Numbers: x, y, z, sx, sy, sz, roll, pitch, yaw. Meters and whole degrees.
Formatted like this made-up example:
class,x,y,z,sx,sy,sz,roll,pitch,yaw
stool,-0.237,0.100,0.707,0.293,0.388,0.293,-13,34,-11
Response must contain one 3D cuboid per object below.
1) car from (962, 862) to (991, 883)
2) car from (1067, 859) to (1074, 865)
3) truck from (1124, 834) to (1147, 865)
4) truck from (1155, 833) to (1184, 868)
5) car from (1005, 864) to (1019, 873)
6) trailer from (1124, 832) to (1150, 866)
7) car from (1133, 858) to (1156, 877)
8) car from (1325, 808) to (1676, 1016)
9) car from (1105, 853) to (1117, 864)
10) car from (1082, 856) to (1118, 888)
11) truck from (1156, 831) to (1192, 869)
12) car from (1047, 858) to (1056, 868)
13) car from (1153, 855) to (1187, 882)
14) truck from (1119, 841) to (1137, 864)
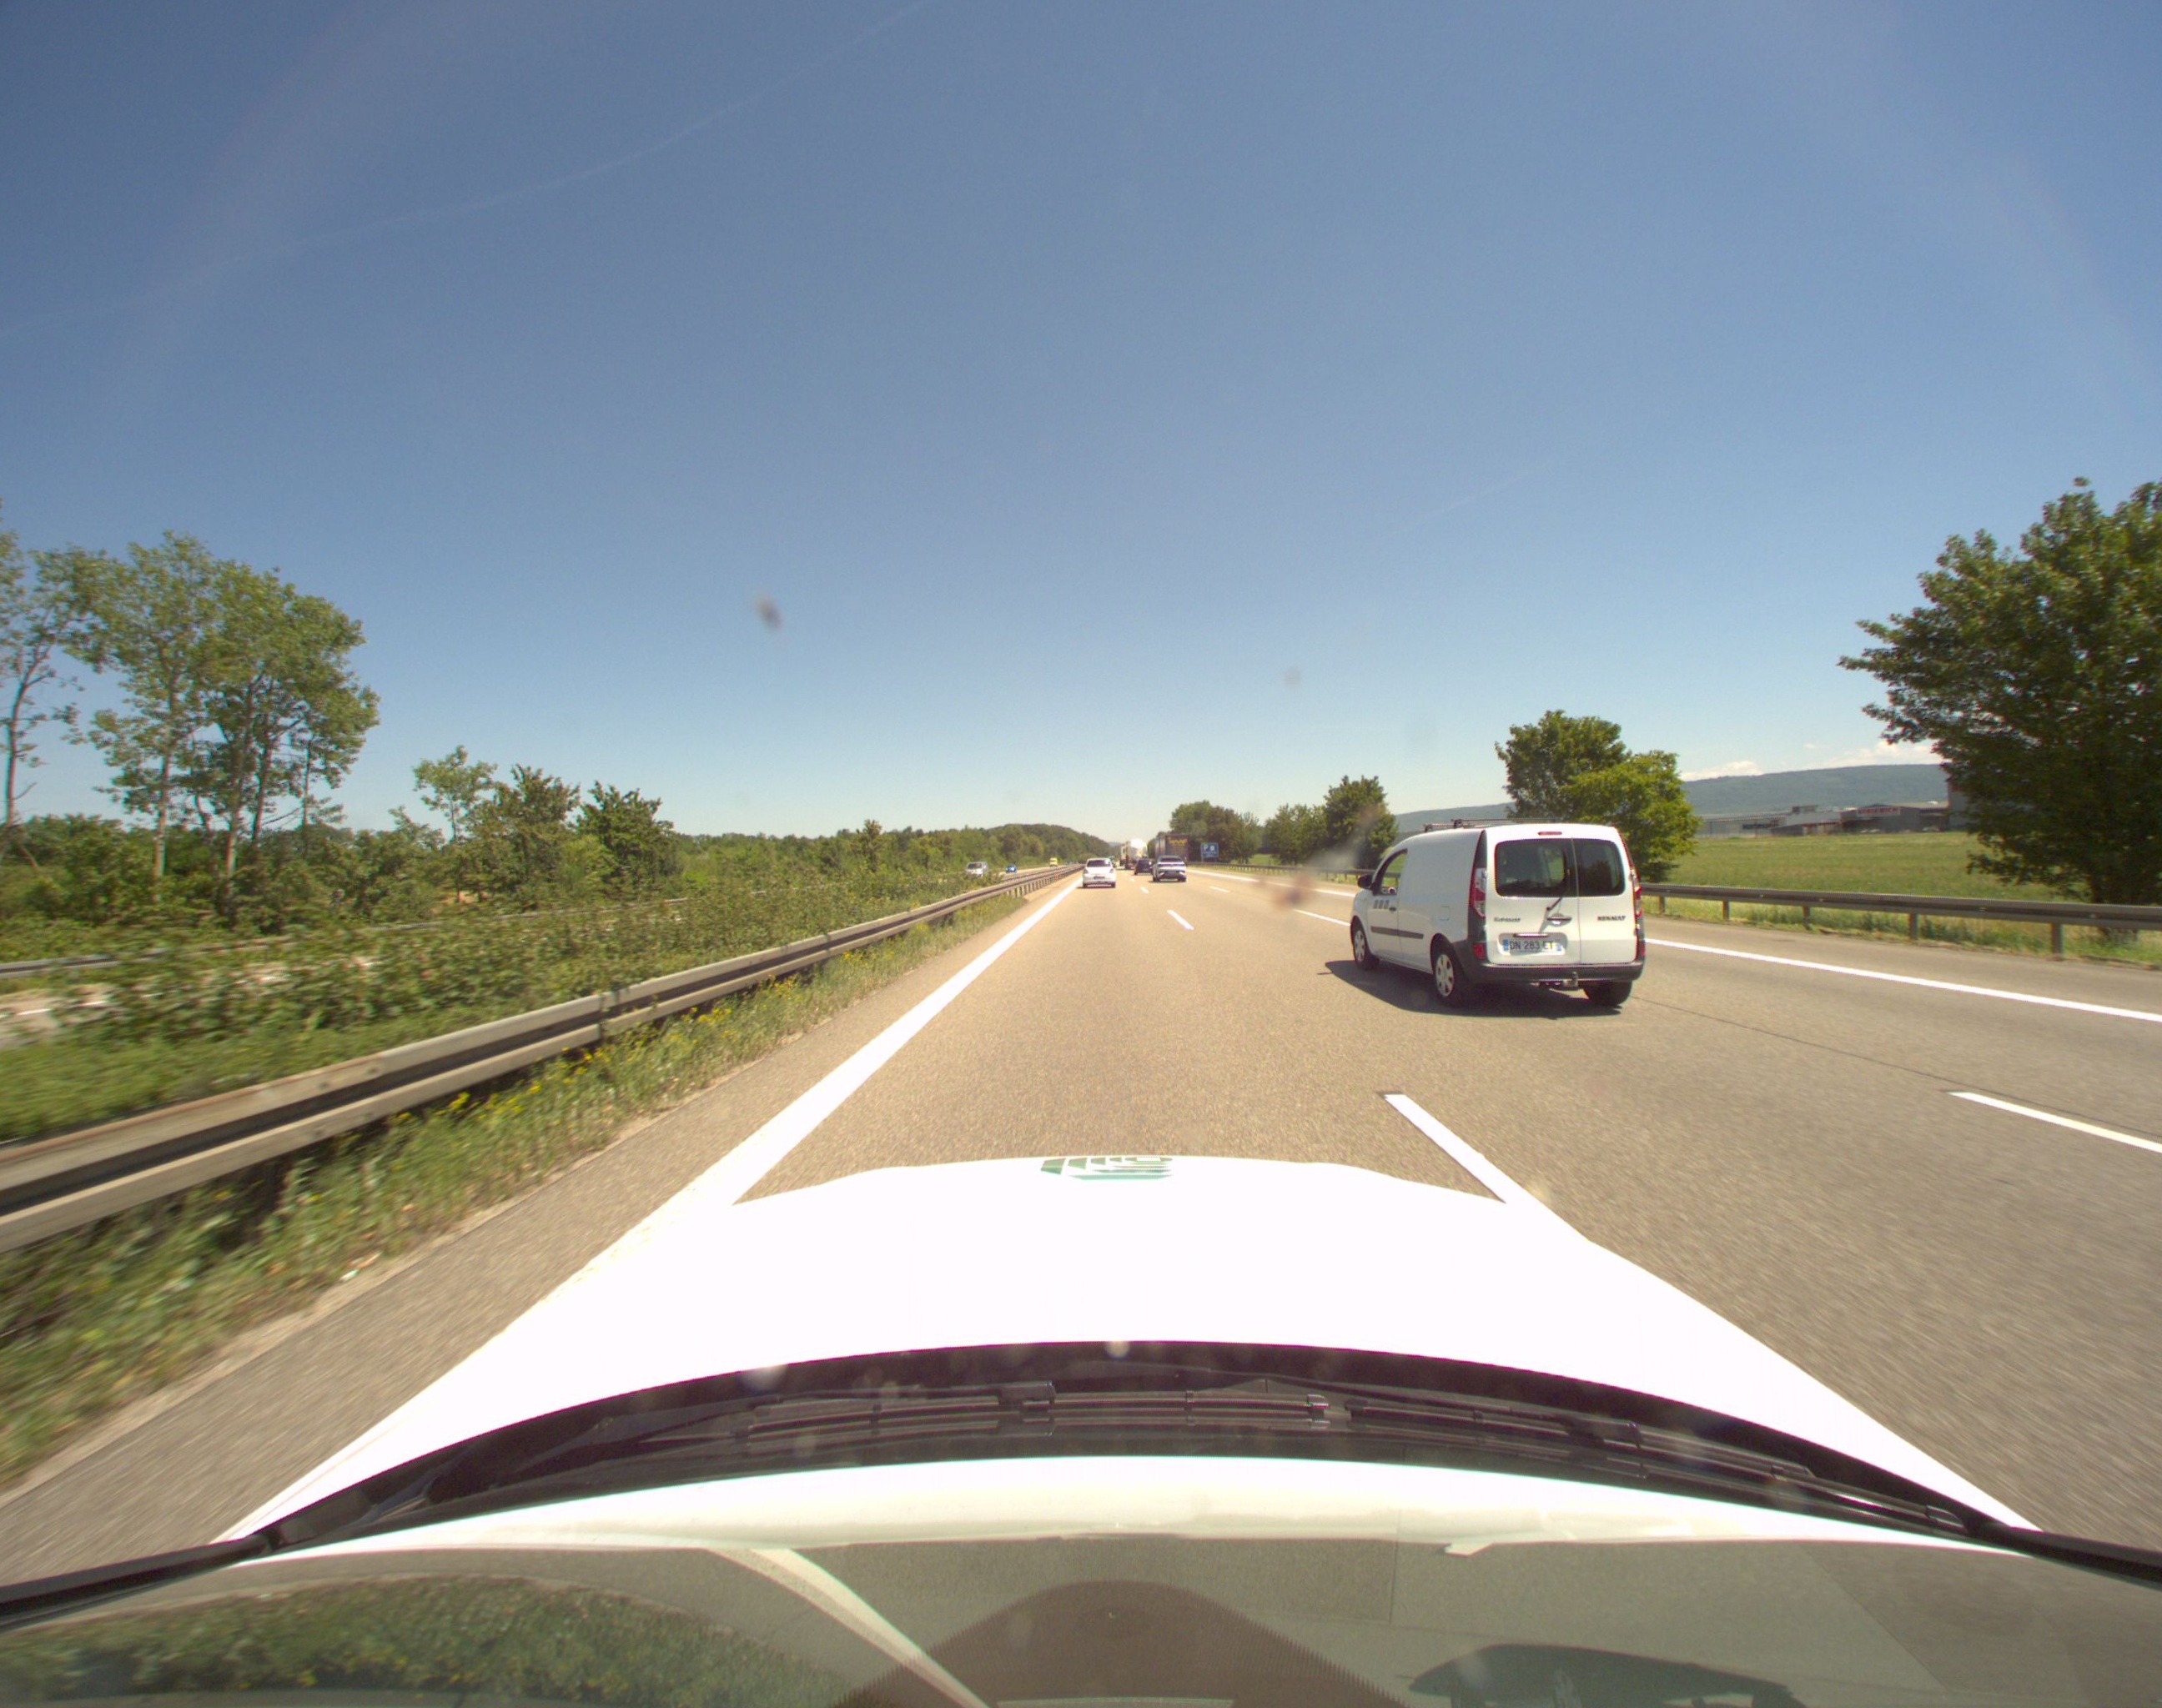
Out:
class,x,y,z,sx,sy,sz,roll,pitch,yaw
car,-10.427,1.822,81.575,2.034,1.924,5.228,-4,0,1
car,-3.263,2.541,252.297,1.861,1.690,4.628,-4,0,2
truck,7.351,-0.566,110.719,2.901,4.079,7.198,-1,0,2
truck,11.004,-0.380,101.949,3.096,4.139,8.061,-1,0,3
car,-11.724,2.386,137.919,1.556,1.424,3.478,-4,-1,6
trailer,7.210,-0.584,106.484,2.901,4.069,12.422,-1,0,2
car,5.549,1.167,71.608,1.843,1.523,3.959,-1,0,2
car,4.511,0.535,9.746,1.846,1.863,4.703,-1,0,1
car,6.665,1.013,181.567,2.465,2.354,5.185,-1,0,3
car,0.978,0.908,42.328,1.793,1.552,3.610,-1,0,1
truck,10.751,-0.393,95.699,3.096,4.139,15.521,-1,0,3
car,-9.043,2.599,246.038,2.157,2.779,5.802,-4,0,1
car,5.457,0.849,50.450,1.795,1.603,4.382,-1,0,2
truck,9.178,-0.272,159.946,3.381,4.214,12.091,-1,0,3
